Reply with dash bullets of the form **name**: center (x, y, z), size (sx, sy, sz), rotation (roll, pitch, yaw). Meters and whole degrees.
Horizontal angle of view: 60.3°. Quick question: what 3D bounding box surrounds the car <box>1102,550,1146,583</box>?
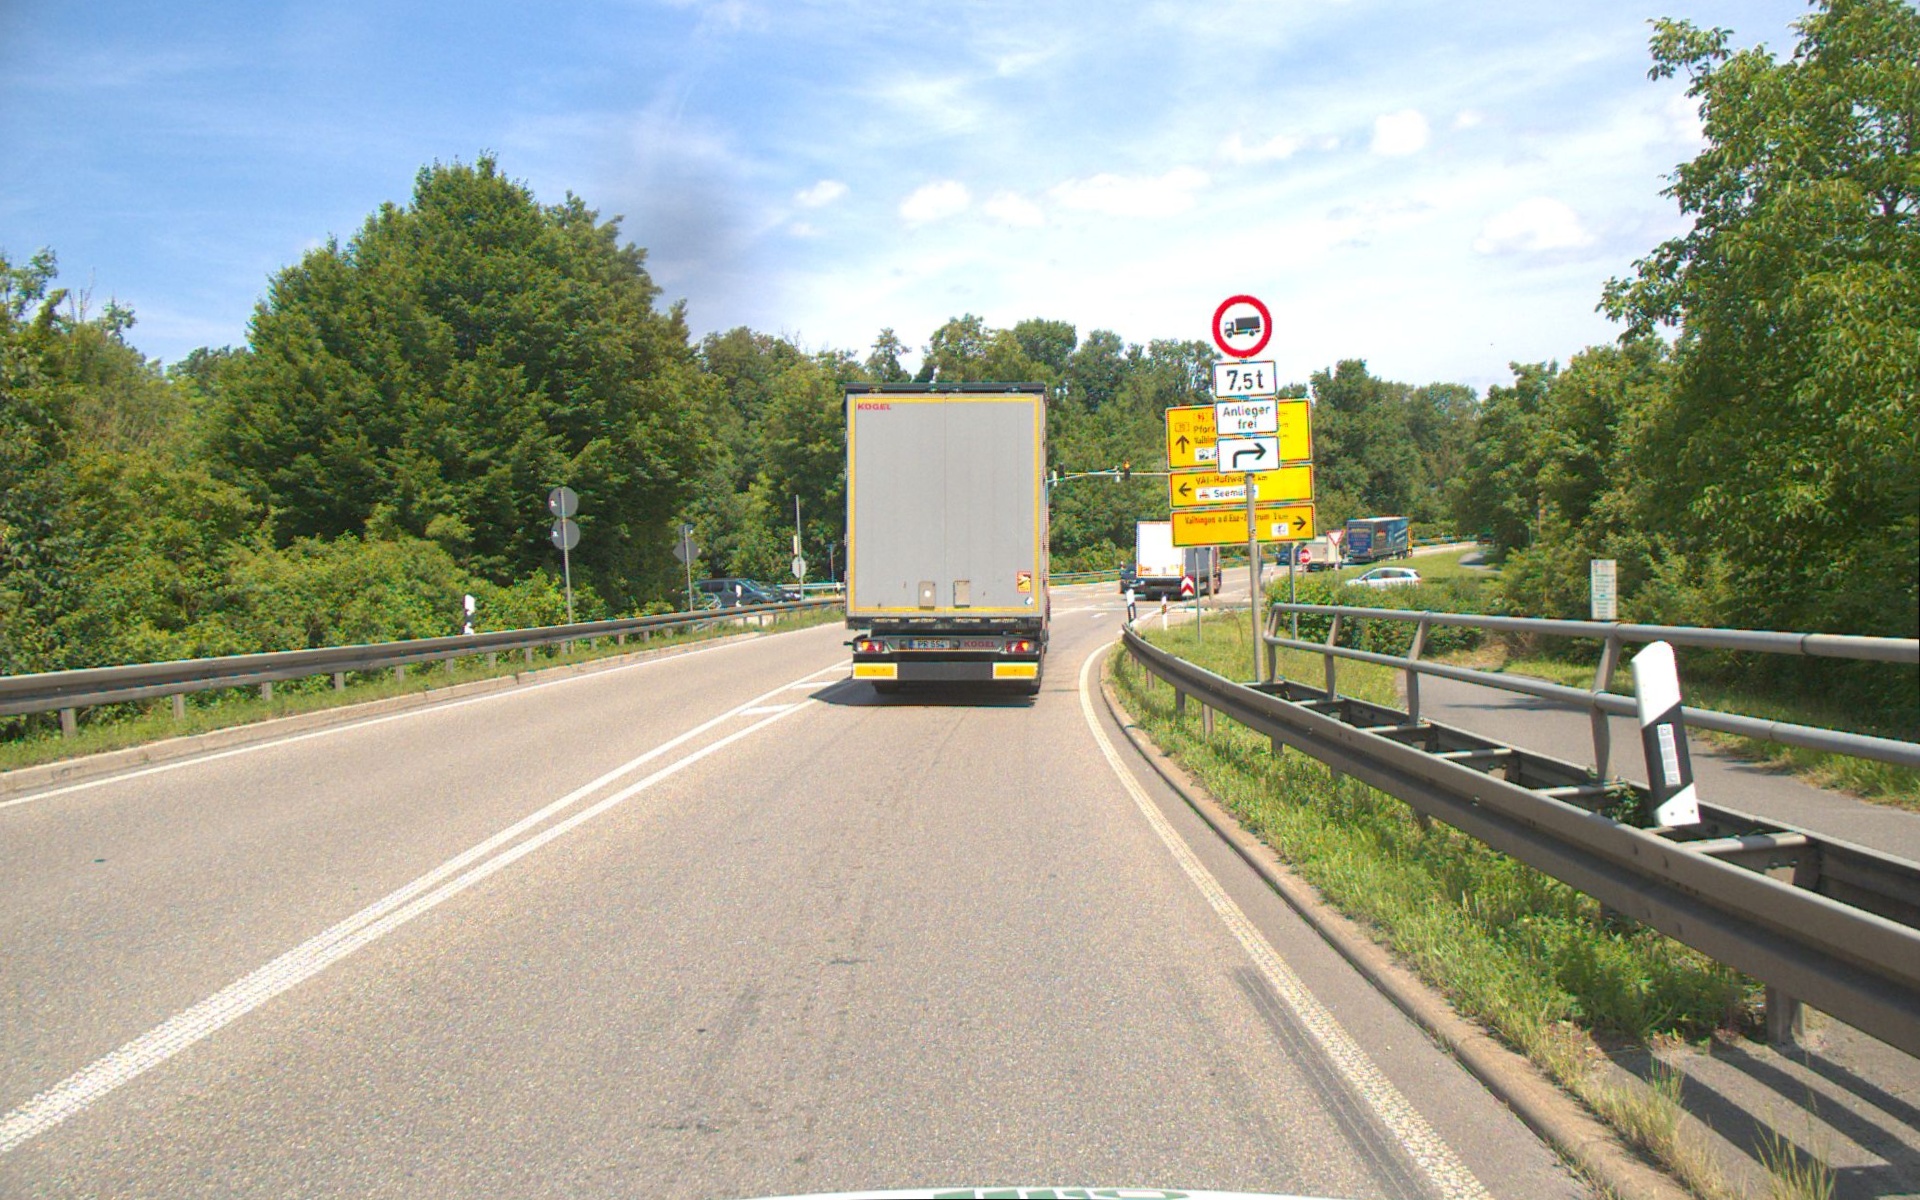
- **car**: center (9.775, -1.981, 98.237), size (1.951, 1.816, 4.946), rotation (1, 0, 14)

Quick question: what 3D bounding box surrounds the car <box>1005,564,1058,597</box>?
- **car**: center (3.549, -0.930, 80.957), size (1.951, 1.545, 4.003), rotation (1, 0, 12)

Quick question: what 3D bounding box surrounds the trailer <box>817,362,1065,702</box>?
- **trailer**: center (0.075, -0.903, 26.372), size (2.988, 4.104, 12.564), rotation (0, 1, 3)

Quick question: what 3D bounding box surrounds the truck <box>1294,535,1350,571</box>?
- **truck**: center (30.878, -4.033, 141.041), size (2.801, 2.999, 7.094), rotation (0, 2, 29)

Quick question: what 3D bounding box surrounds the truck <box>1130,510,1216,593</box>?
- **truck**: center (11.441, -2.472, 87.877), size (3.111, 4.099, 11.754), rotation (0, 0, 14)

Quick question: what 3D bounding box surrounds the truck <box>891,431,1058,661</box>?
- **truck**: center (0.428, -1.012, 33.133), size (2.974, 4.104, 6.632), rotation (0, 1, 3)

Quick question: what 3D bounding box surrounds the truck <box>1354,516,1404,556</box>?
- **truck**: center (40.556, -6.126, 159.981), size (3.190, 3.749, 6.235), rotation (0, 2, 29)

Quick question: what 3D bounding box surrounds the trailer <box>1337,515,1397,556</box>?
- **trailer**: center (38.483, -6.002, 156.167), size (3.190, 3.749, 9.236), rotation (0, 2, 29)

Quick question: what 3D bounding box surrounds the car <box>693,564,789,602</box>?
- **car**: center (-10.606, -0.819, 80.109), size (4.144, 1.801, 2.001), rotation (0, 1, 17)

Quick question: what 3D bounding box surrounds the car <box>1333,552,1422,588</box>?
- **car**: center (21.087, -1.494, 83.685), size (4.333, 1.748, 2.002), rotation (1, 0, 13)
